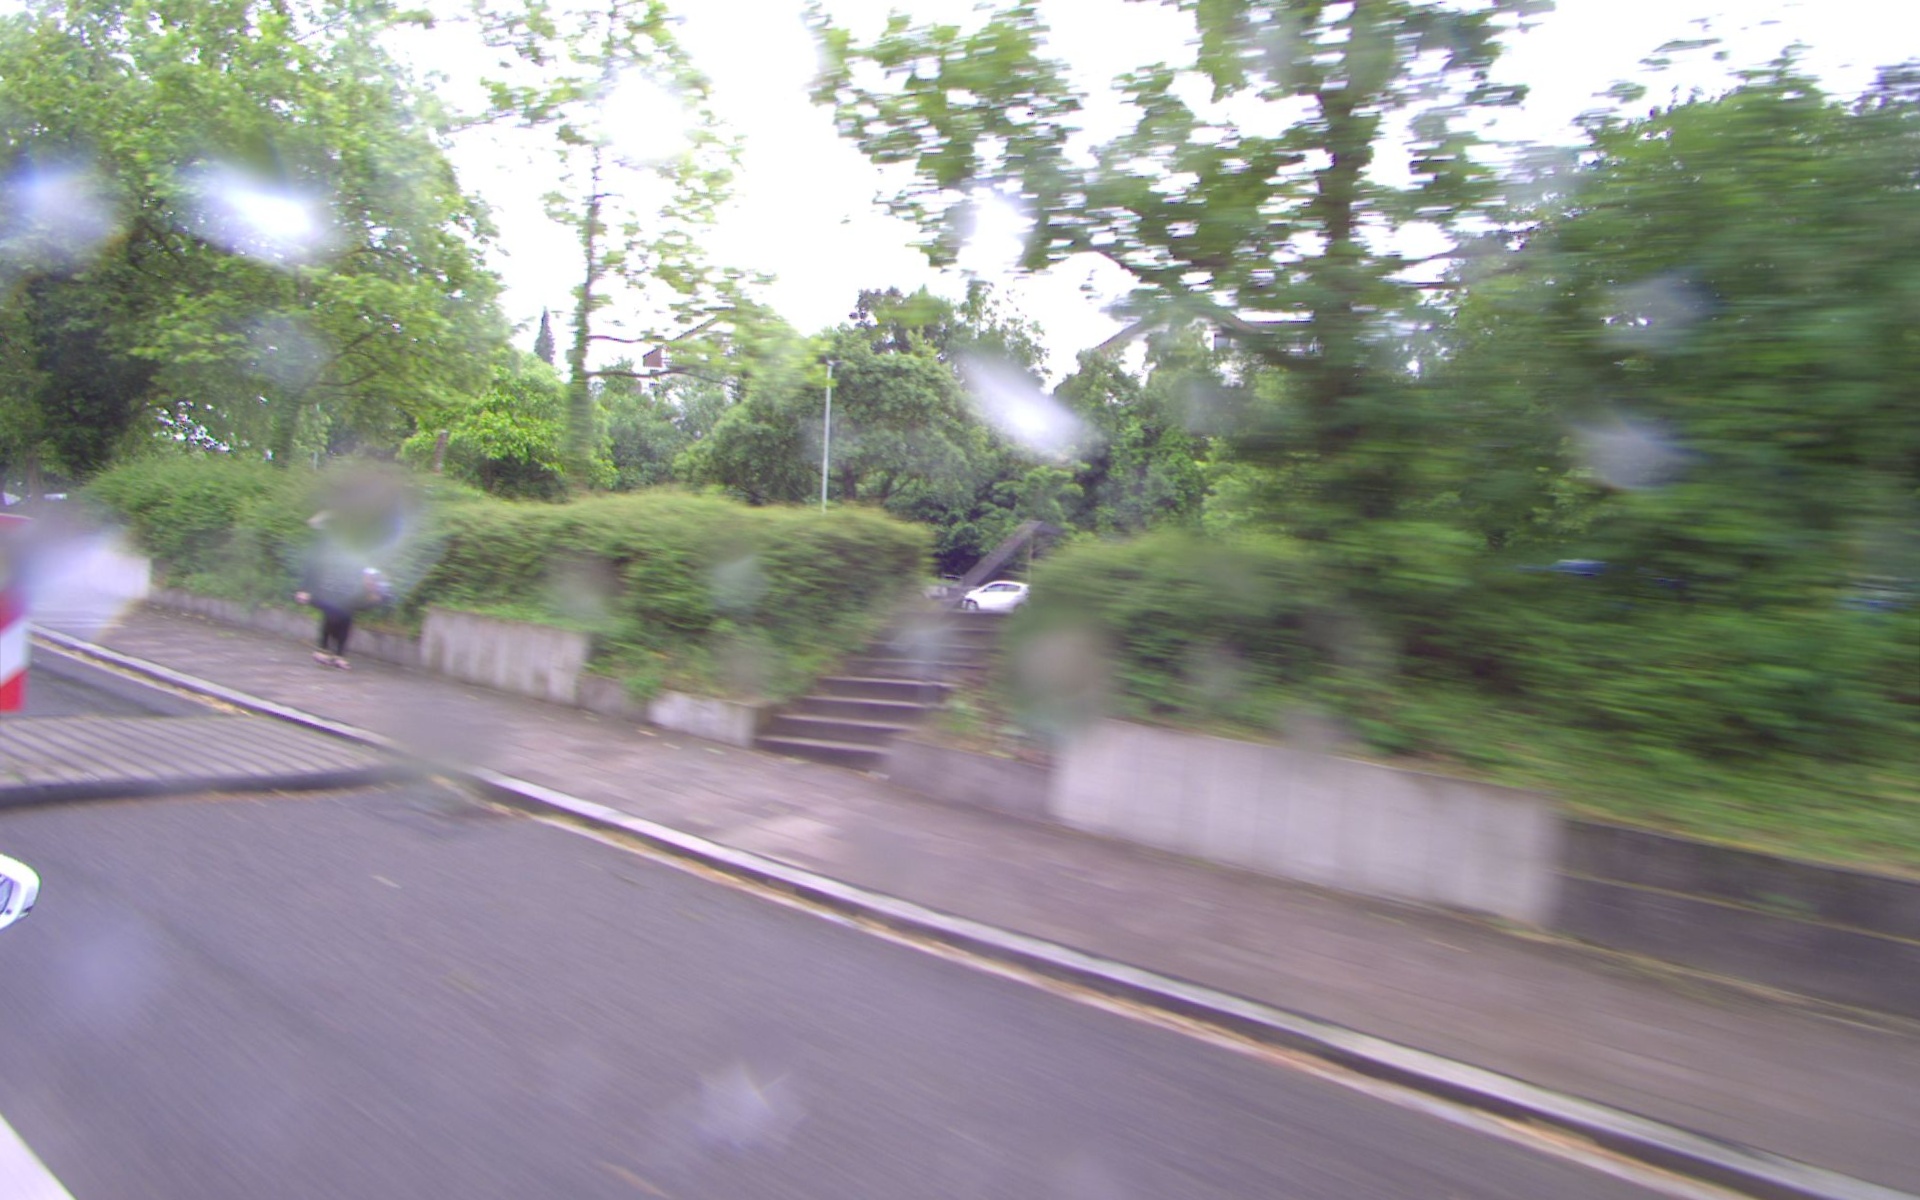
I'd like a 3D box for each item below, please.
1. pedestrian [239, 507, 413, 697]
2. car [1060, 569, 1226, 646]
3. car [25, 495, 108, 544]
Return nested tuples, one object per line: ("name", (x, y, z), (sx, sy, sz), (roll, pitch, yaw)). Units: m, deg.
("pedestrian", (-6.827, 0.032, 10.863), (1.114, 1.916, 1.053), (4, -1, 28))
("car", (4.832, 0.198, 26.593), (3.715, 1.525, 1.997), (6, -2, 32))
("car", (-50.857, -4.602, 57.248), (4.934, 2.312, 2.047), (6, -1, 31))
